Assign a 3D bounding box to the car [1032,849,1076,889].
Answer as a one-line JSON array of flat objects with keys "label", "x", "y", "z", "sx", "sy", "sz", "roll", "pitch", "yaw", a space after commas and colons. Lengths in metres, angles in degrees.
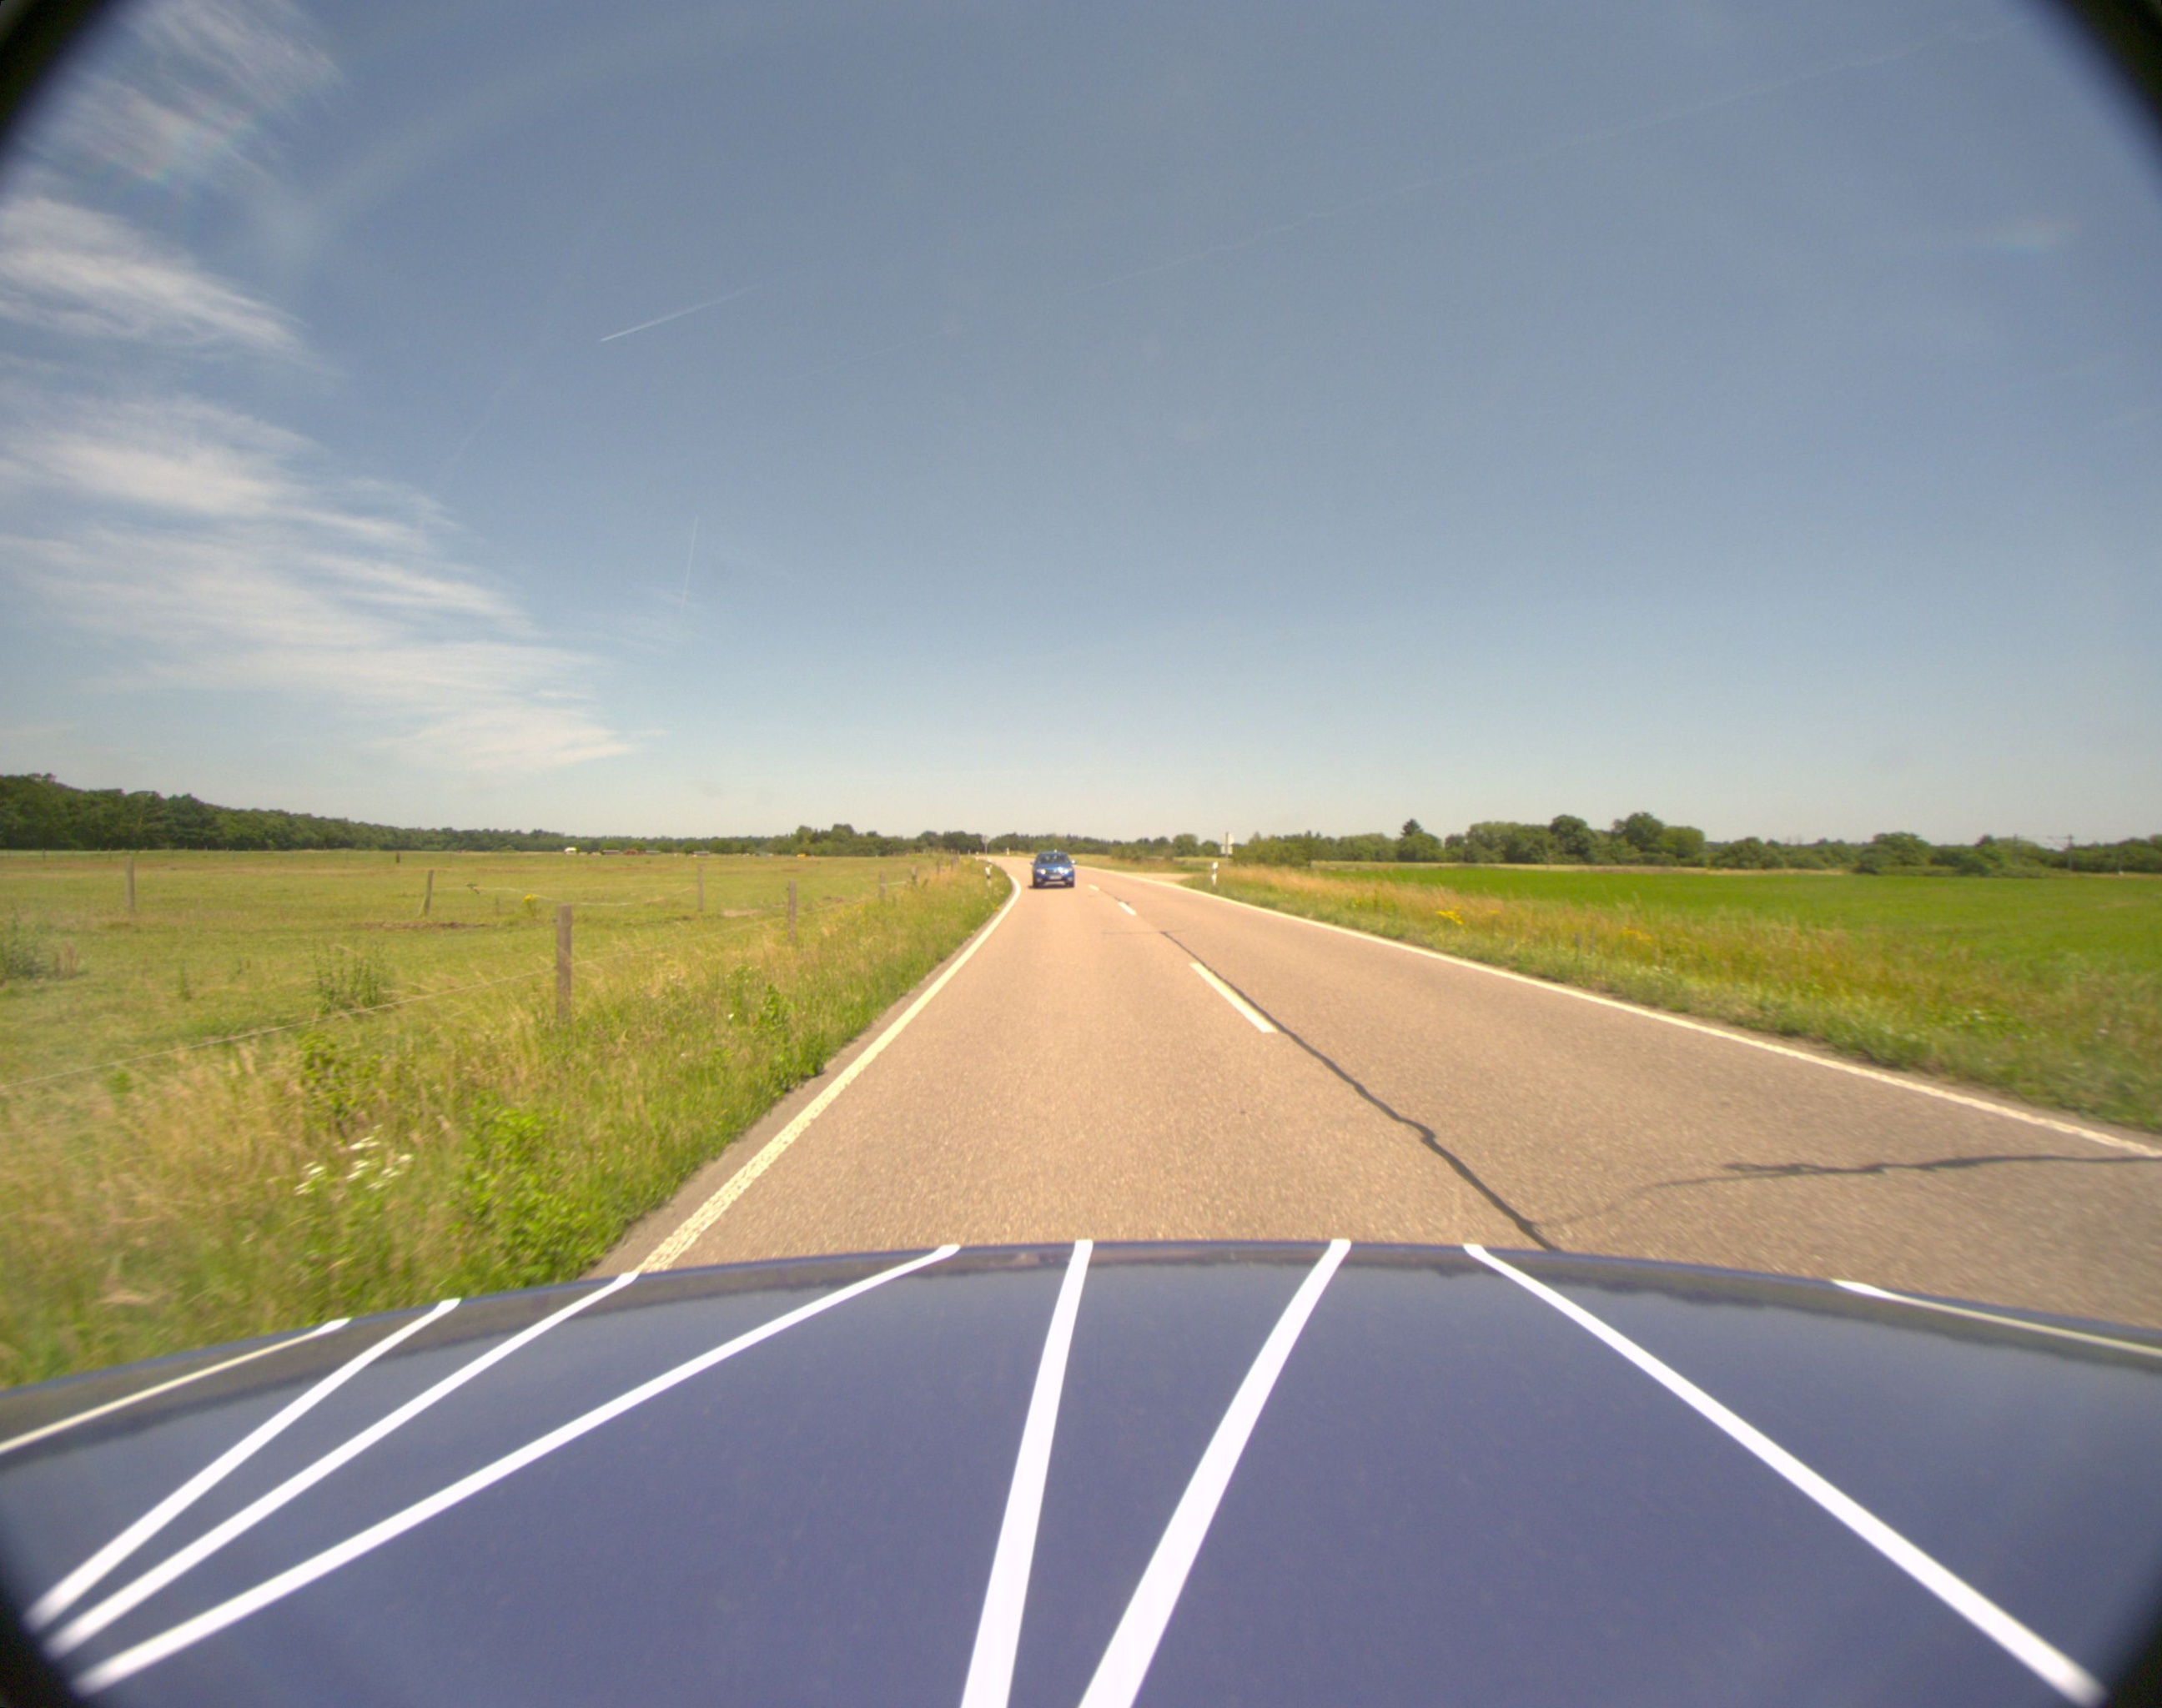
[{"label": "car", "x": -1.261, "y": 0.621, "z": 33.697, "sx": 1.735, "sy": 1.572, "sz": 3.998, "roll": -2, "pitch": 1, "yaw": -4}]
